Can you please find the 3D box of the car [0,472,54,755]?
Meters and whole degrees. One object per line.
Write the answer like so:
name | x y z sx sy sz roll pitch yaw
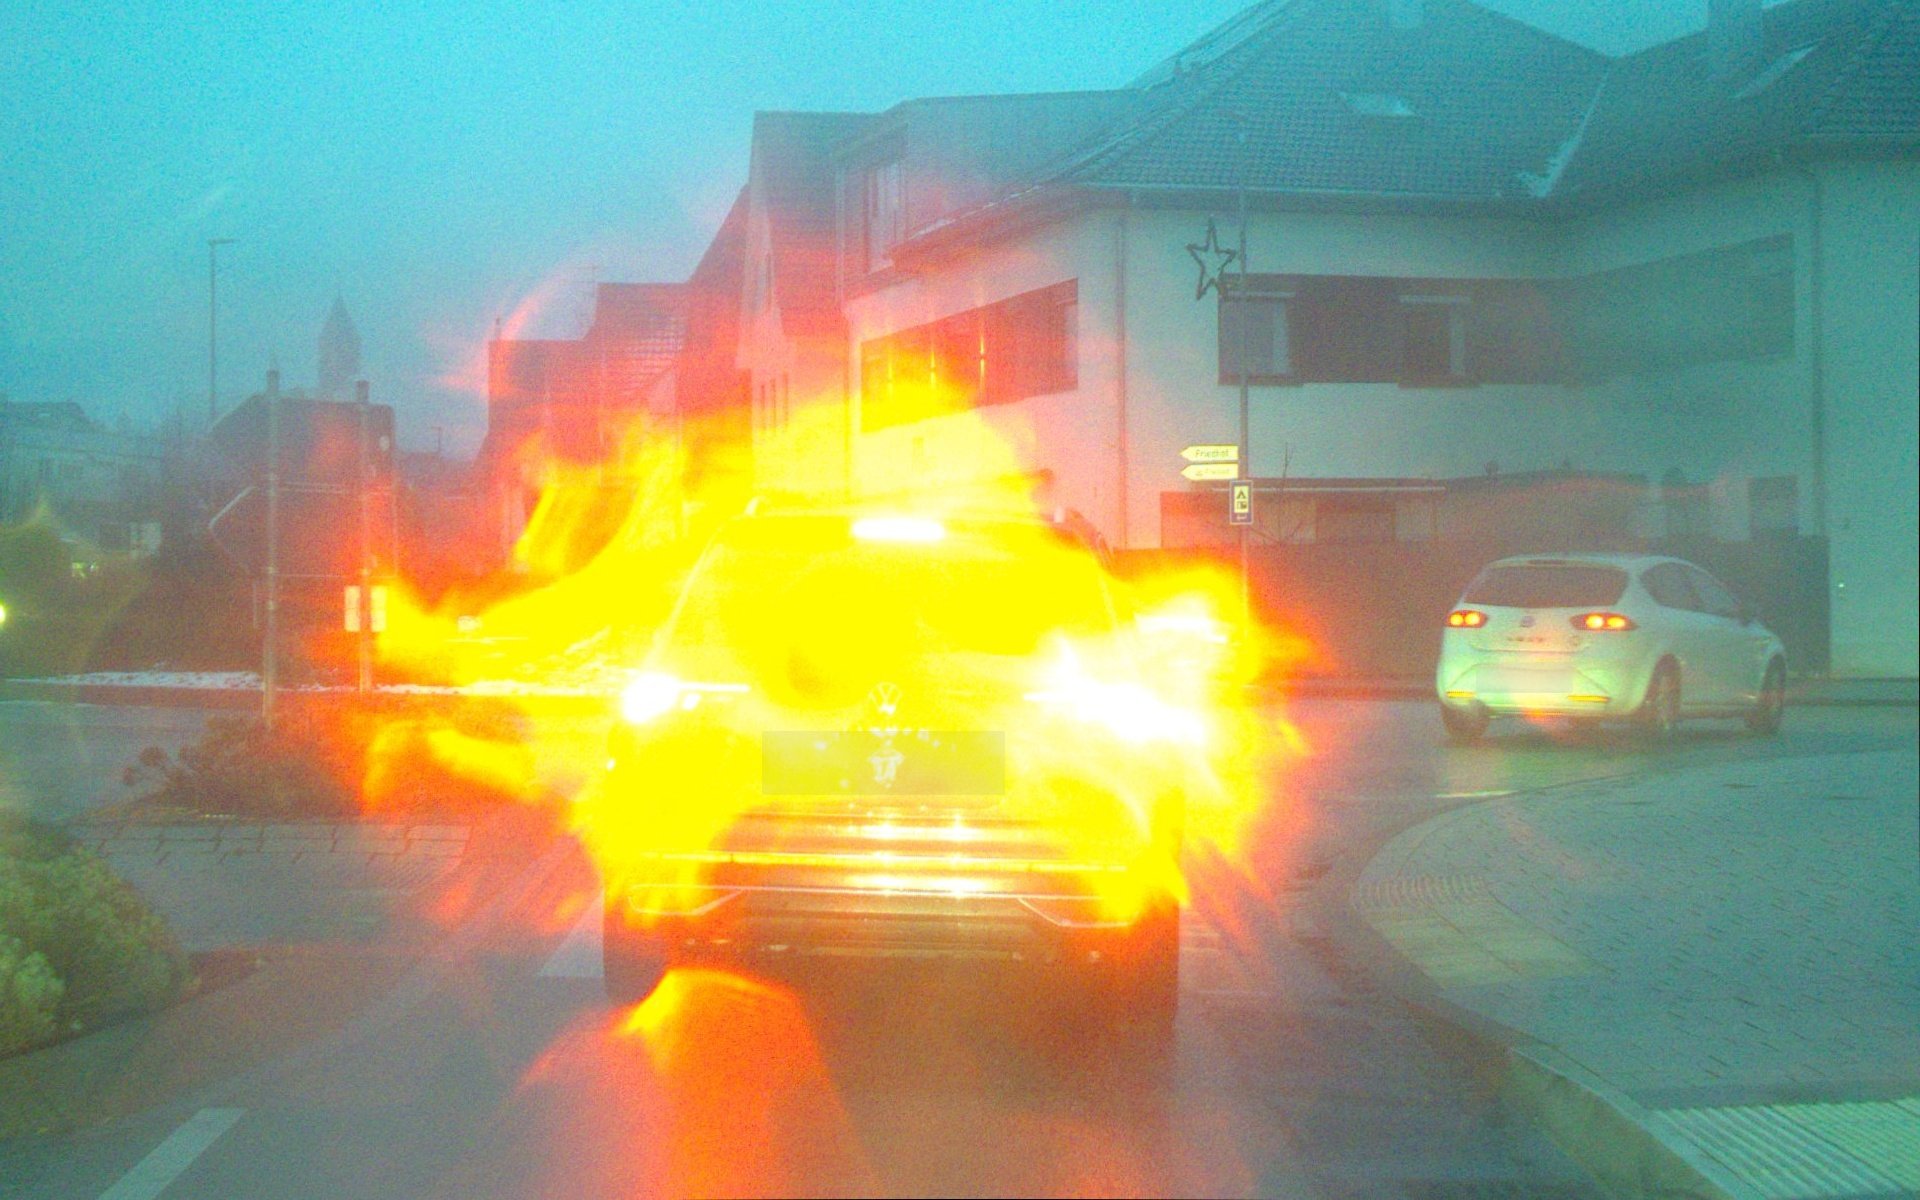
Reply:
car | -9.043 0.074 25.412 4.895 2.007 1.996 1 0 38

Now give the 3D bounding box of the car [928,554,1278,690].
car | 1.789 0.243 42.796 3.991 1.623 1.826 0 1 20

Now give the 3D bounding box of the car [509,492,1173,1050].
car | -0.375 0.468 11.953 1.915 1.609 3.950 0 1 -1

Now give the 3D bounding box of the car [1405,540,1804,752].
car | 5.129 0.299 27.002 1.781 1.533 3.925 0 1 32
